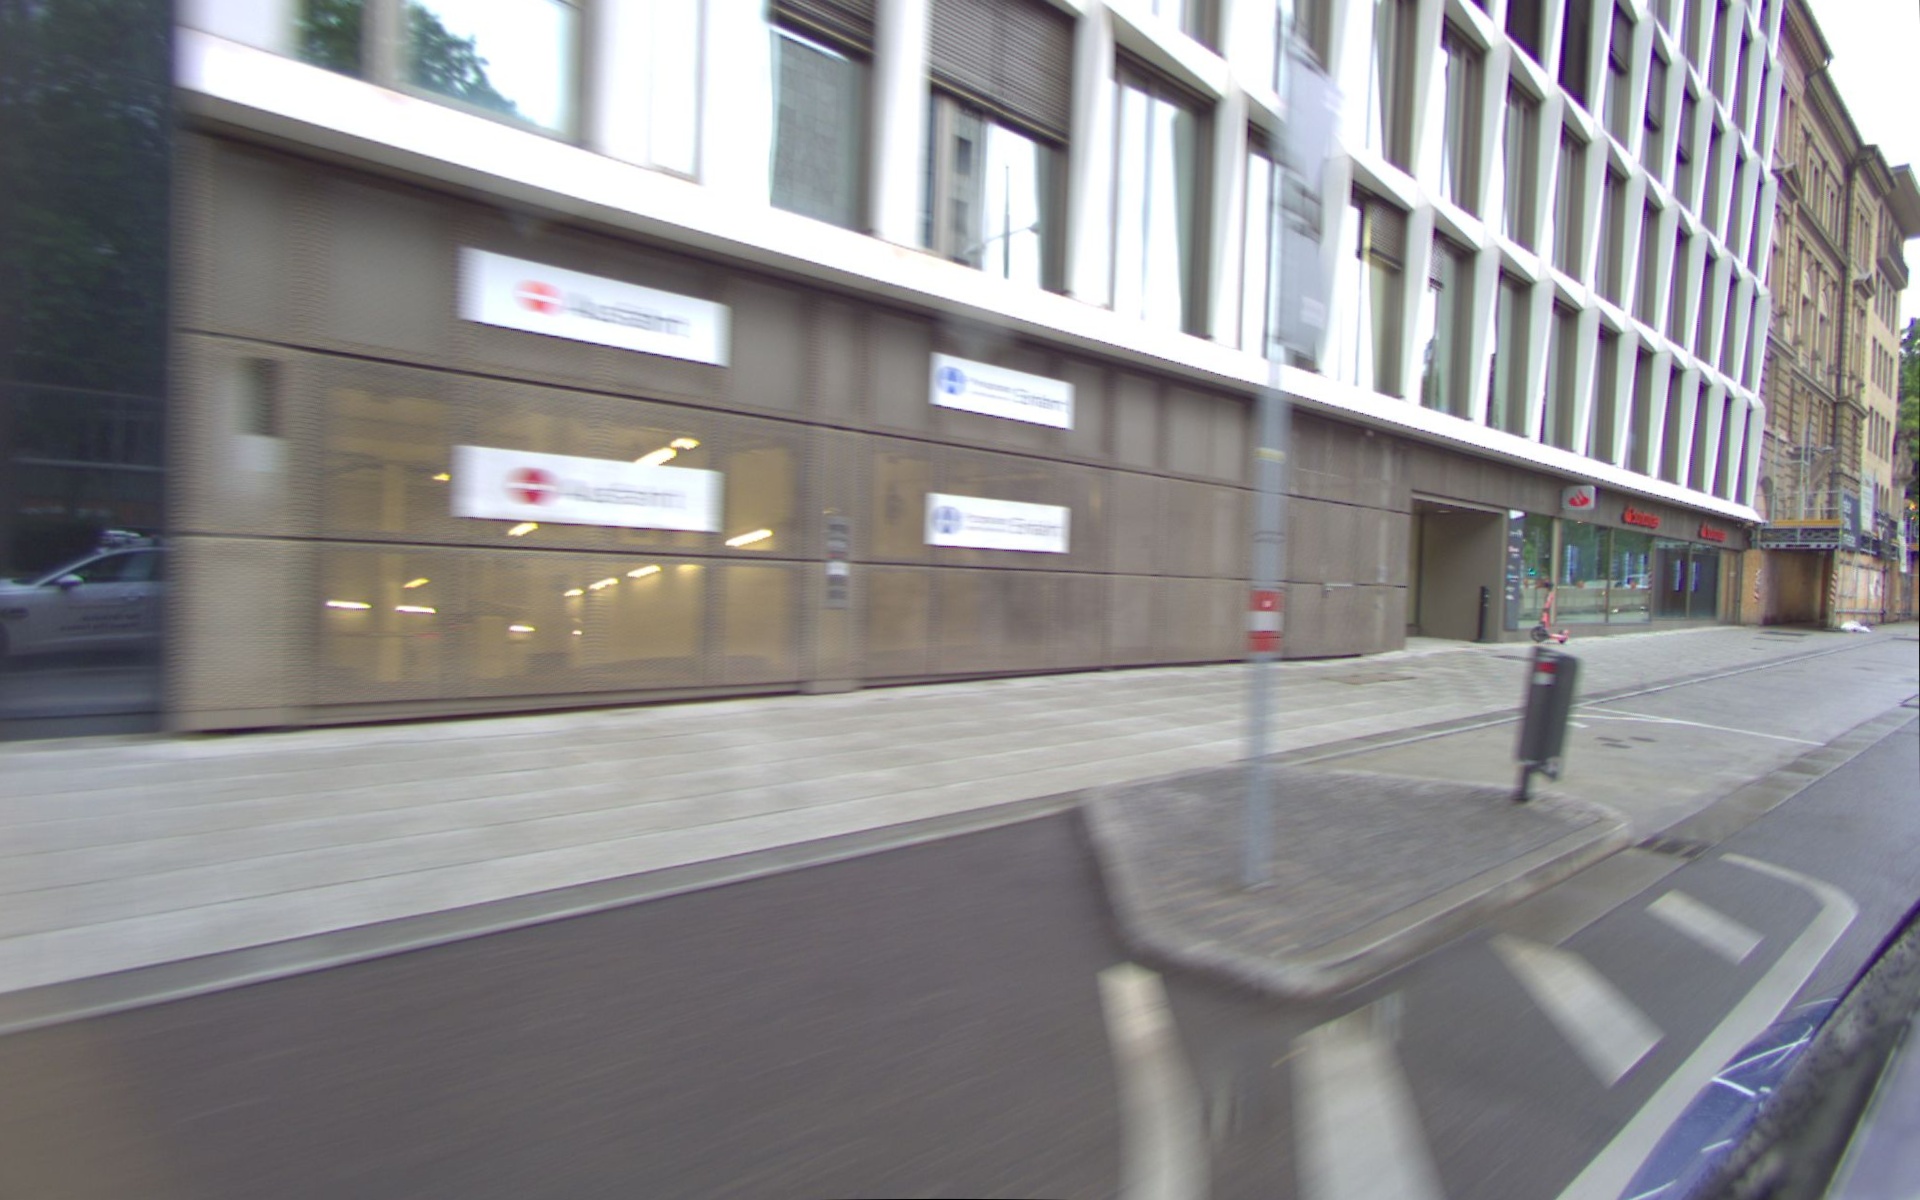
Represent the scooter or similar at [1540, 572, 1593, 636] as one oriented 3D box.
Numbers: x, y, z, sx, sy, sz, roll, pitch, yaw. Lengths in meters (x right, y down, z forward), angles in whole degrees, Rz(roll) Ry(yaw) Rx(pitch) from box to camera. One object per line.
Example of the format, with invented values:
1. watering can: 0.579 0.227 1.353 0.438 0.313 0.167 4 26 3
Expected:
1. scooter or similar: 12.247 0.066 20.415 1.166 1.251 0.413 0 1 -32
